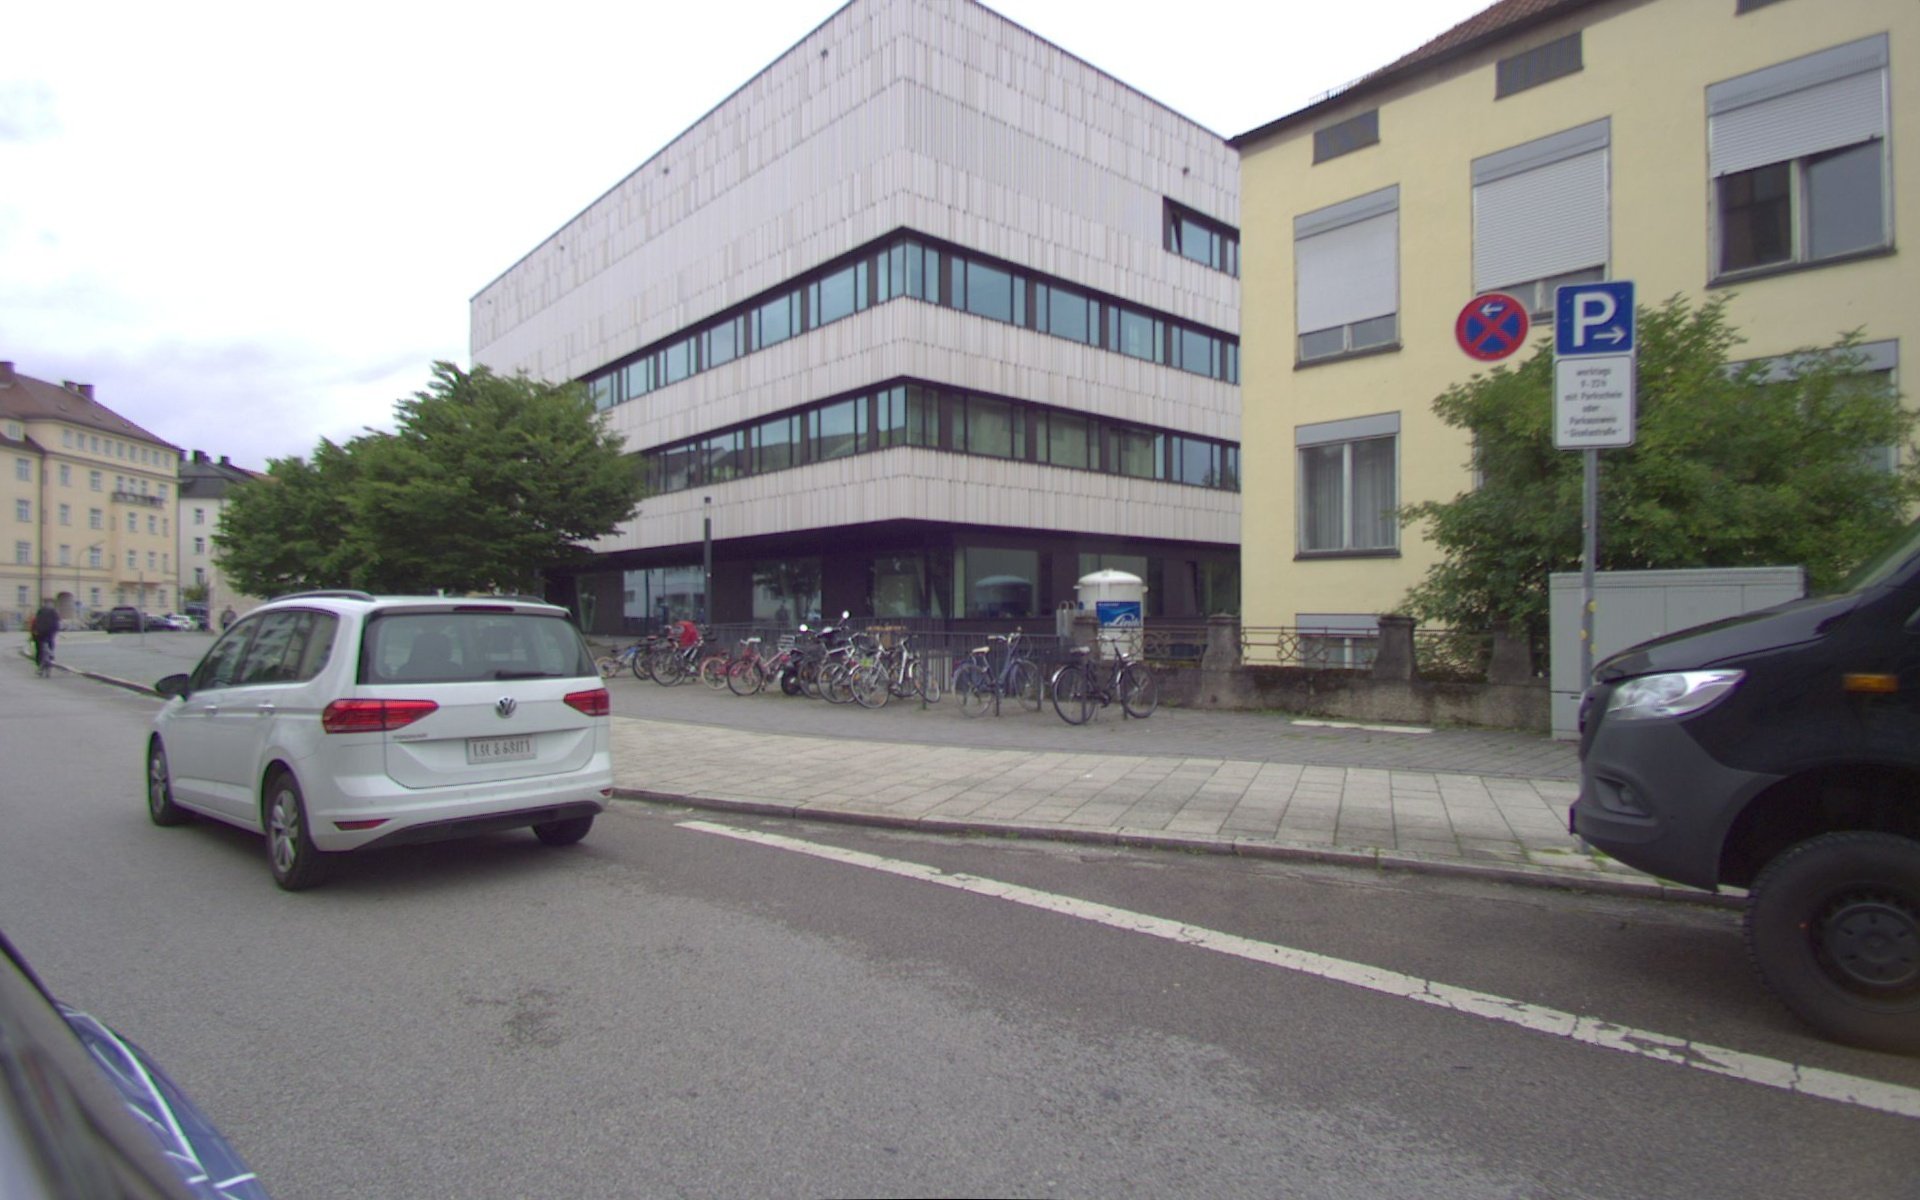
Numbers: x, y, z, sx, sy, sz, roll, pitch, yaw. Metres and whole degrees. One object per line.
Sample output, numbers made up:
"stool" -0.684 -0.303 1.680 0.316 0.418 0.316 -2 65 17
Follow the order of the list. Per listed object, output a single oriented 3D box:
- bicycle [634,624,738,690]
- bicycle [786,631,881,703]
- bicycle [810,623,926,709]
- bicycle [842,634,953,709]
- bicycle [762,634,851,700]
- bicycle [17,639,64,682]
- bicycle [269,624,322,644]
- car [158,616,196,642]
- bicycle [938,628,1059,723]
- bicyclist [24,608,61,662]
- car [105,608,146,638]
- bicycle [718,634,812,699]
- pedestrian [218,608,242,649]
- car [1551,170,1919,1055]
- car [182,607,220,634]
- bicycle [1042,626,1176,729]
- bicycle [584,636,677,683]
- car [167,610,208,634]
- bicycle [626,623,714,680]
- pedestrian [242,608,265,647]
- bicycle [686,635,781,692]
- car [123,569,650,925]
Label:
"bicycle" -5.389 1.089 19.996 0.745 1.202 1.889 -1 -1 42
"bicycle" -2.088 1.085 16.891 0.501 1.112 1.634 -1 -1 44
"bicycle" -1.396 0.983 15.654 0.497 1.225 1.918 -1 -1 45
"bicycle" -0.925 1.056 15.349 0.519 1.031 1.790 -1 -1 45
"bicycle" -2.605 1.121 17.331 0.442 1.019 1.565 -1 0 42
"bicycle" -23.638 1.546 26.019 1.462 1.056 0.698 -2 -3 41
"bicycle" -33.924 1.732 51.703 0.796 0.999 2.123 -1 -1 31
"car" -62.765 2.307 81.185 1.862 2.029 4.012 0 -1 -30
"bicycle" 0.538 0.966 13.501 1.790 1.160 0.519 0 -1 -45
"bicyclist" -23.420 0.877 25.840 0.832 1.360 0.610 -1 -1 41
"car" -58.041 1.557 70.432 1.863 2.029 4.010 0 -1 -34
"bicycle" -3.360 1.128 17.525 1.562 1.024 0.443 -1 0 -39
"pedestrian" -32.312 1.265 44.781 0.516 1.799 0.777 -1 -1 40
"car" 5.375 0.055 2.810 6.192 2.875 2.190 -1 -4 40
"car" -68.933 1.817 91.949 1.861 2.374 4.013 0 -1 -23
"bicycle" 1.863 0.923 12.548 1.787 1.160 0.520 0 -1 -36
"bicycle" -7.218 1.289 22.217 0.739 0.934 1.826 -1 -1 42
"car" -66.272 1.854 86.931 1.861 2.029 4.013 0 -1 -23
"bicycle" -6.214 1.083 21.723 1.790 1.160 0.519 0 -1 -45
"pedestrian" -32.821 1.287 47.007 0.516 1.799 0.777 -1 -1 40
"bicycle" -4.191 1.167 18.872 0.473 0.970 1.795 -1 -1 42
"car" -4.040 0.725 6.835 4.146 1.686 1.774 -1 -1 40
